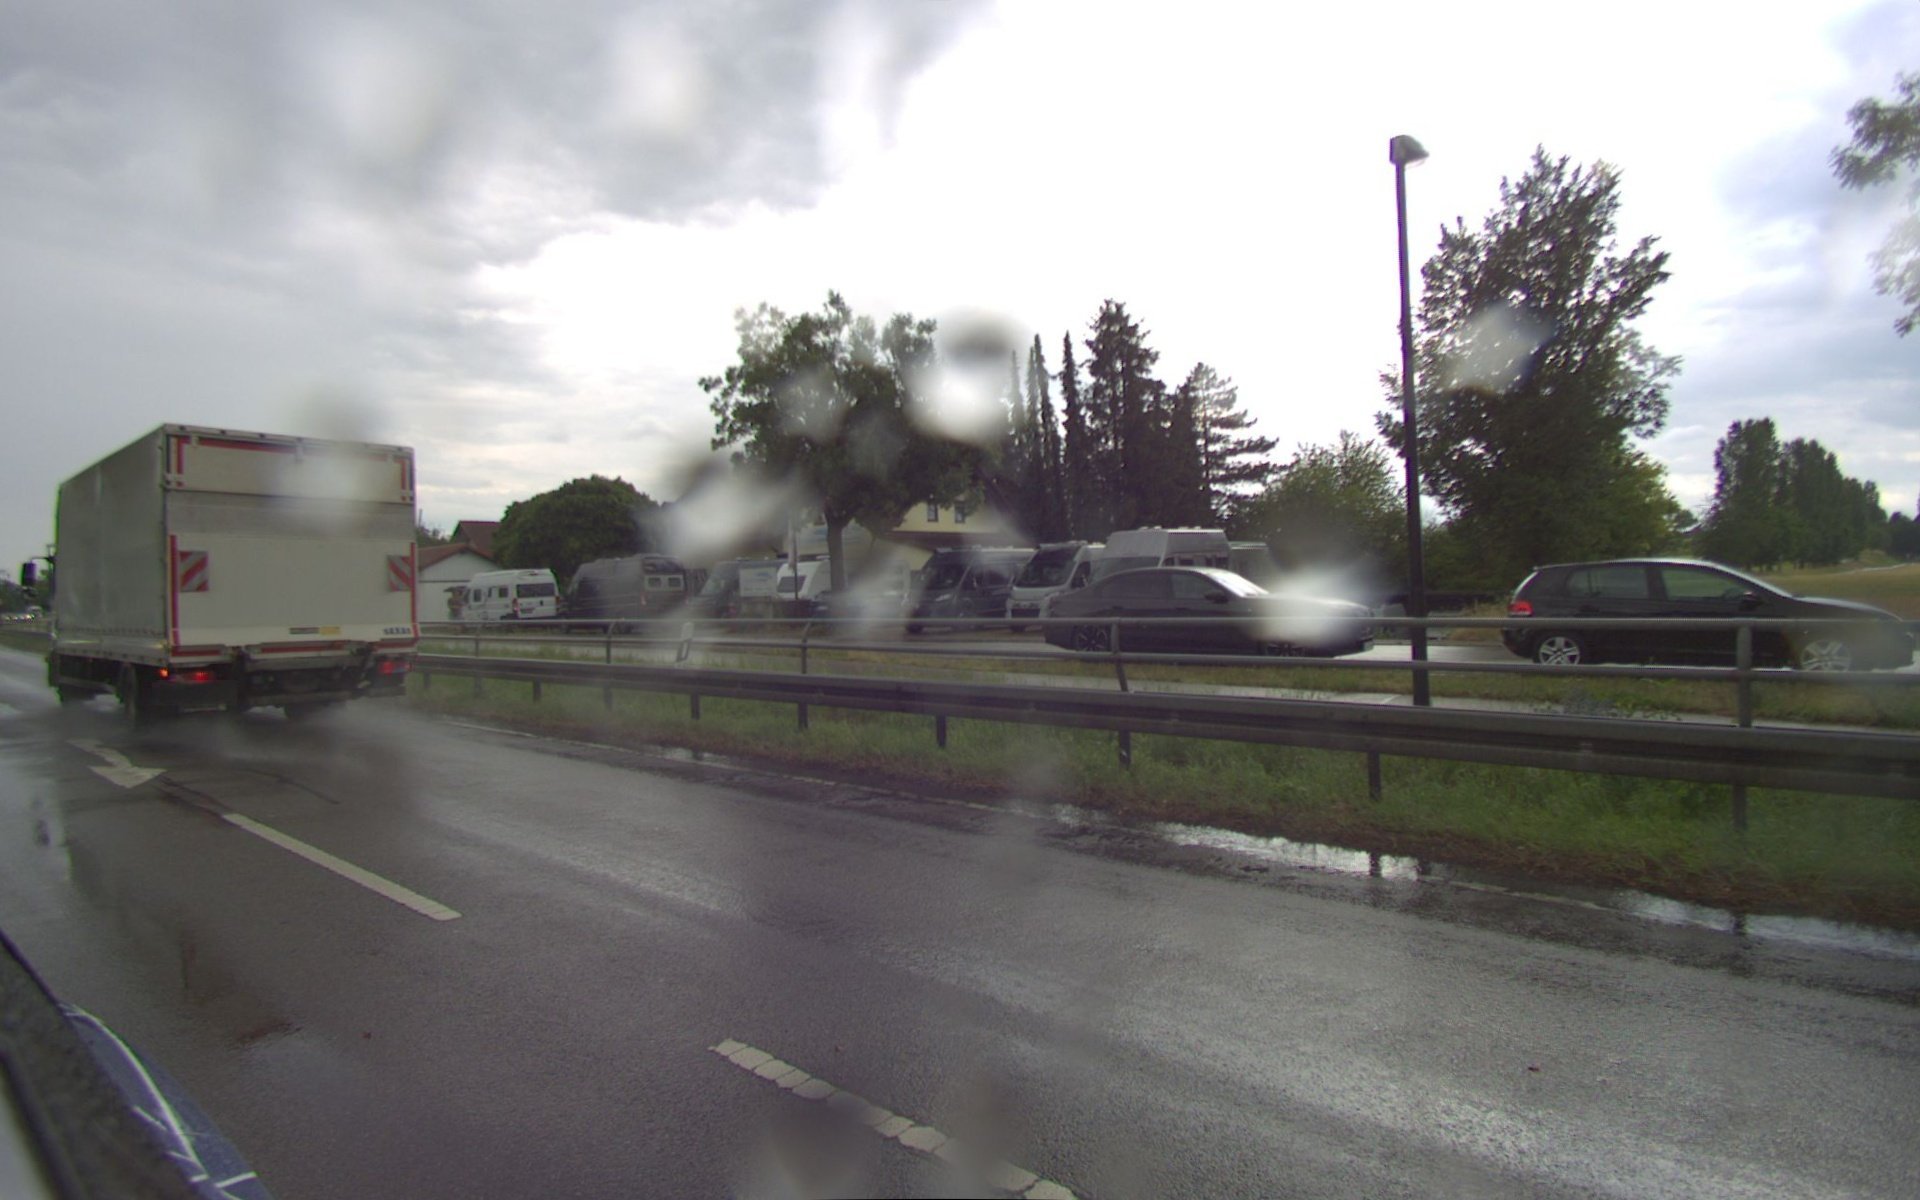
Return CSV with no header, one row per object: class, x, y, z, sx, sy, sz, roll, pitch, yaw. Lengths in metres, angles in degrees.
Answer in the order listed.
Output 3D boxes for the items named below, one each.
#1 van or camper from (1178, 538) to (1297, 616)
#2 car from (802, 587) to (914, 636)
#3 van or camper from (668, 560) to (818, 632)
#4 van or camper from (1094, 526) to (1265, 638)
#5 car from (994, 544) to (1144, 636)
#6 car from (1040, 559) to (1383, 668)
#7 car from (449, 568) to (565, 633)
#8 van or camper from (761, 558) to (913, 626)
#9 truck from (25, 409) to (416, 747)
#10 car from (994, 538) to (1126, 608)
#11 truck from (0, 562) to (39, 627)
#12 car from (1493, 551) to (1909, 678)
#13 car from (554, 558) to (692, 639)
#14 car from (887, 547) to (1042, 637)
van or camper,10.253,-0.871,37.062,1.998,2.609,5.748,-2,1,39
car,-3.474,0.362,35.112,1.539,1.507,3.845,-2,1,40
van or camper,-9.164,-0.236,43.274,2.432,2.822,5.994,-2,1,39
van or camper,6.082,-0.516,27.416,2.079,2.697,5.817,-2,1,39
car,3.327,-0.339,29.859,1.997,2.477,5.044,-2,1,38
car,3.850,0.241,16.108,5.112,1.502,1.502,-2,-1,36
car,-19.690,0.037,43.820,6.016,2.600,2.214,-1,1,41
van or camper,-4.977,-0.385,41.911,2.559,2.611,6.162,-2,1,39
truck,-11.041,-0.130,14.536,9.551,3.478,2.549,-2,-1,41
car,4.078,-1.086,40.126,2.090,2.557,6.030,-2,1,40
truck,-78.320,-0.355,82.801,7.778,5.071,3.216,-1,1,40
car,8.795,0.196,12.345,3.891,1.341,1.271,-2,-1,37
car,-12.689,-0.039,37.916,5.570,2.783,2.358,-1,1,41
car,0.240,-0.290,31.100,1.997,2.520,5.134,-2,1,38
